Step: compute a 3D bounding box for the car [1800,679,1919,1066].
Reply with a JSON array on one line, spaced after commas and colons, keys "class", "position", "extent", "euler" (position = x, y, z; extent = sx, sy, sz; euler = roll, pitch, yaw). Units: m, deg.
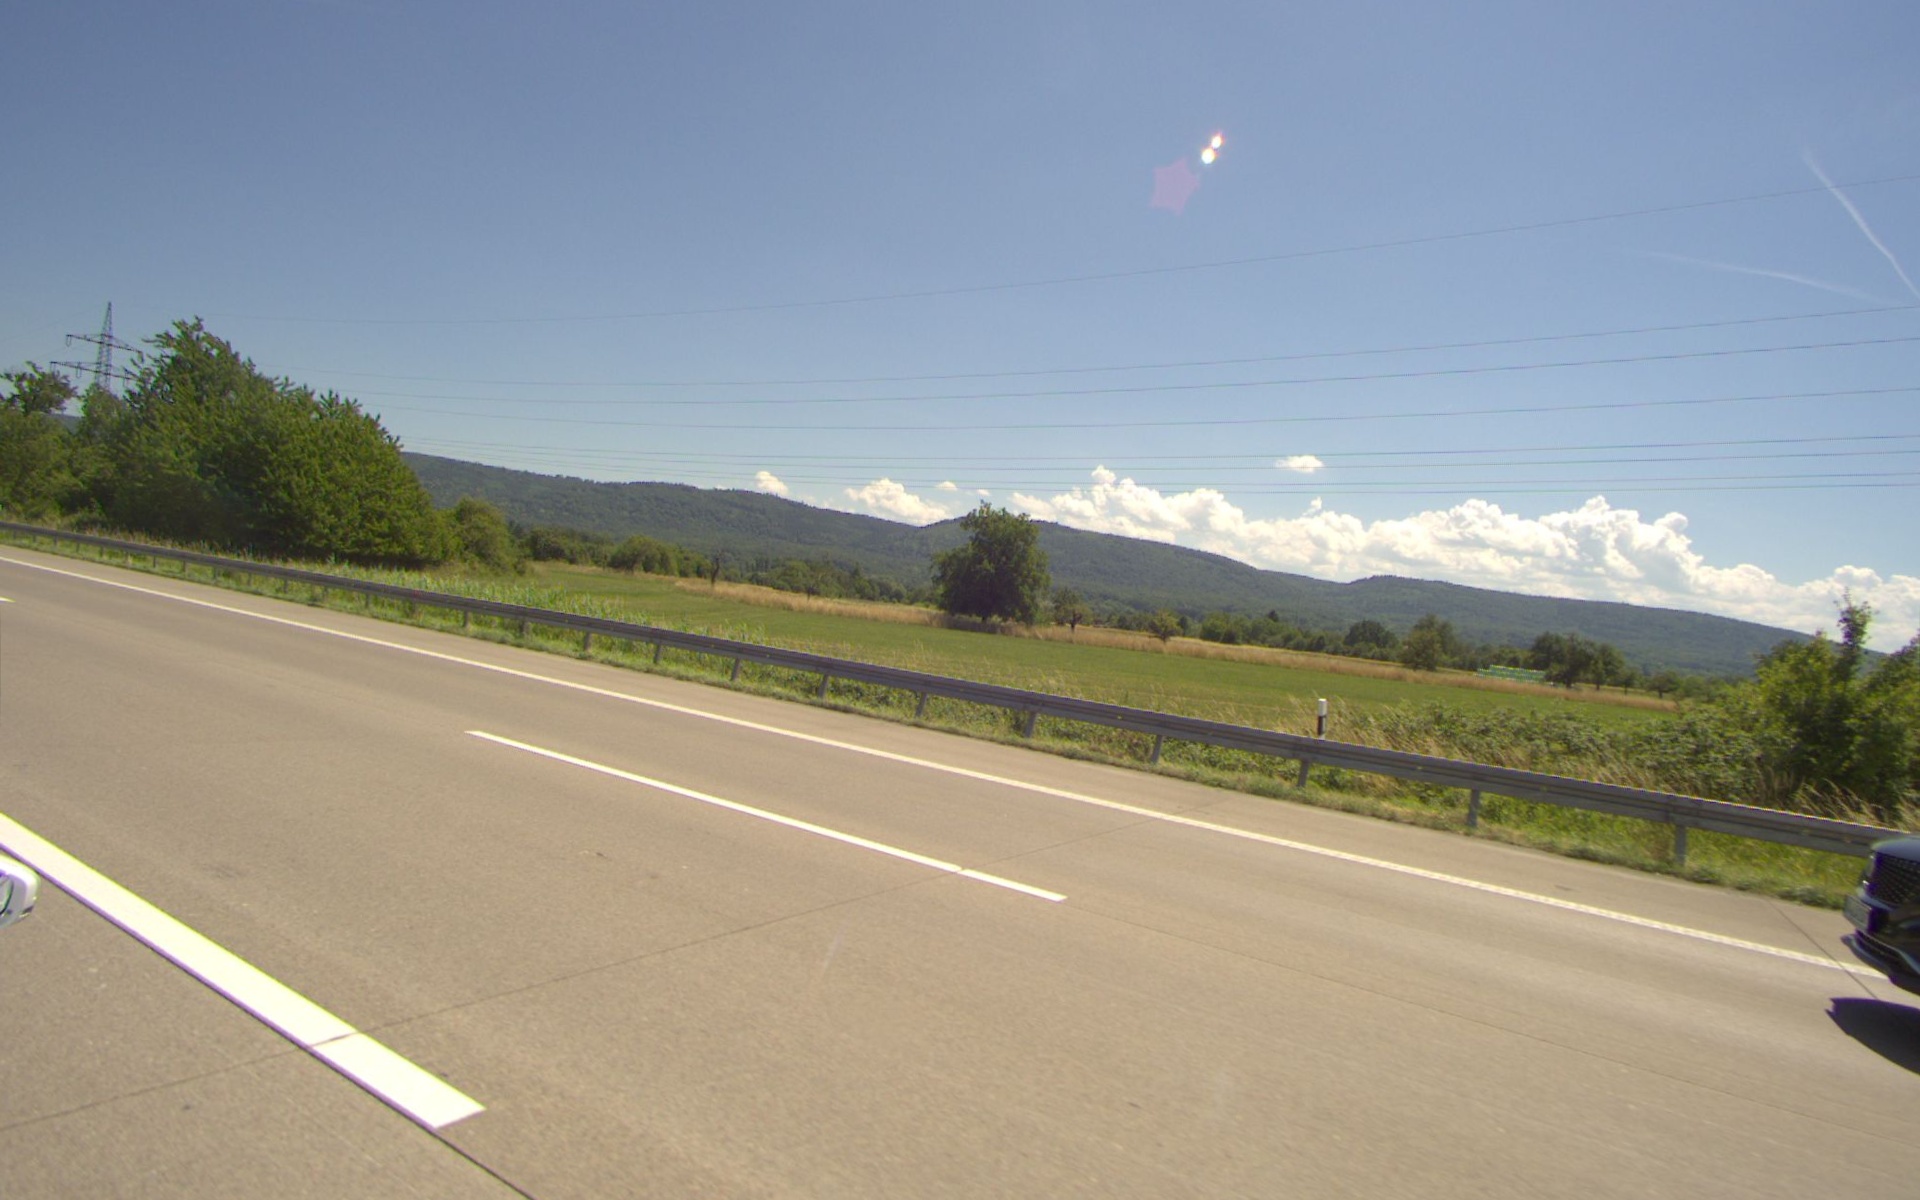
[{"class": "car", "position": [6.633, 1.565, 4.580], "extent": [3.936, 1.803, 1.997], "euler": [7, -2, 34]}]
